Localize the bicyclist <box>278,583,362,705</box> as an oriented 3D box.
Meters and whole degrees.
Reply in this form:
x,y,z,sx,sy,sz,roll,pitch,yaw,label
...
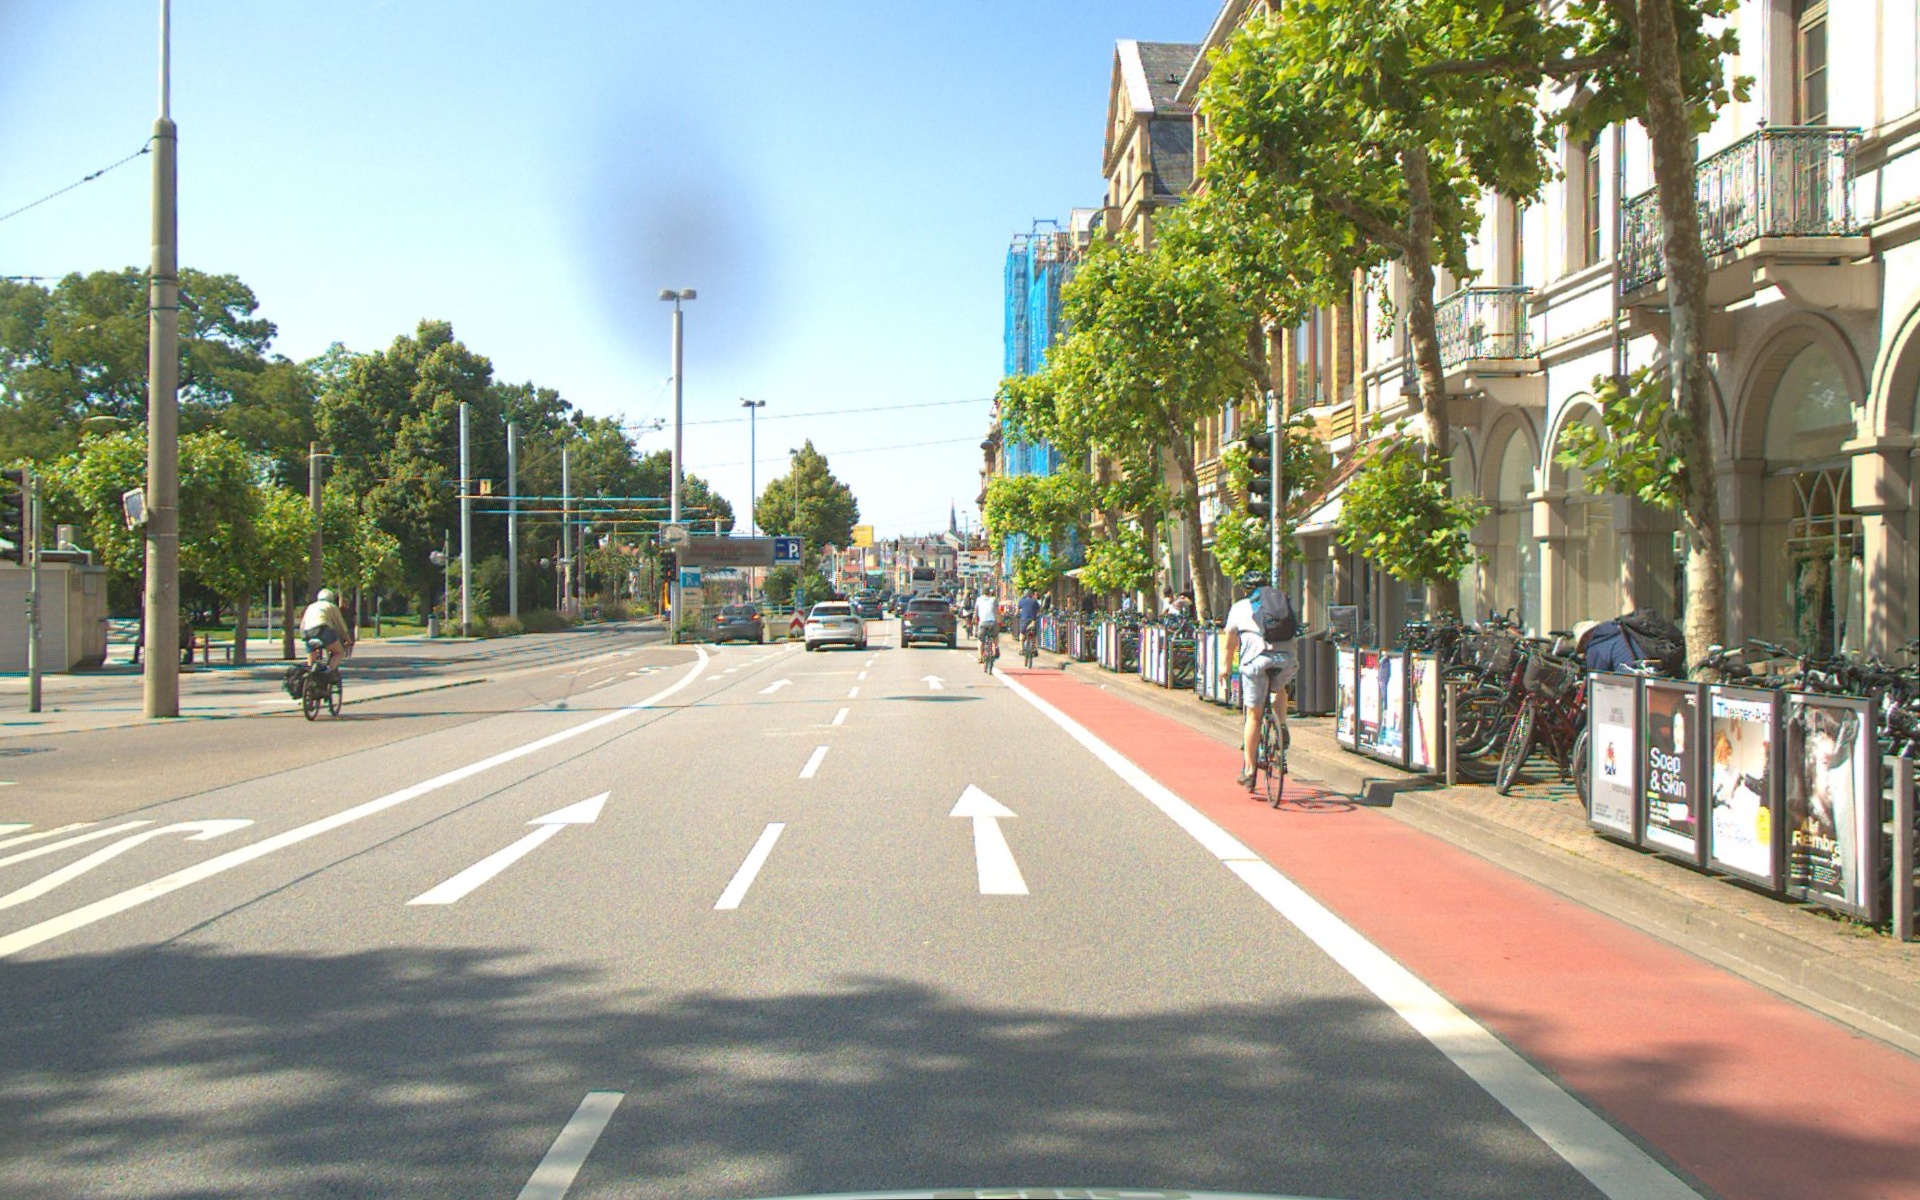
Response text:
x,y,z,sx,sy,sz,roll,pitch,yaw,label
-8.899,0.594,23.038,0.801,1.650,0.902,-1,1,-2,bicyclist

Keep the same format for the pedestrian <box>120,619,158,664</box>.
x,y,z,sx,sy,sz,roll,pitch,yaw,label
-22.335,1.122,45.020,0.662,1.191,0.751,-3,1,-8,pedestrian

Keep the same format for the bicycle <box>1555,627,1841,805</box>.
x,y,z,sx,sy,sz,roll,pitch,yaw,label
5.018,0.771,11.292,1.718,1.167,0.592,0,0,-4,bicycle

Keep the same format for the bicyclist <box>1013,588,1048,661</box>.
x,y,z,sx,sy,sz,roll,pitch,yaw,label
1.621,0.553,38.058,0.674,1.644,0.918,2,0,-3,bicyclist

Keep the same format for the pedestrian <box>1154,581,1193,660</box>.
x,y,z,sx,sy,sz,roll,pitch,yaw,label
4.594,0.441,35.611,0.639,1.662,0.730,2,-1,-5,pedestrian

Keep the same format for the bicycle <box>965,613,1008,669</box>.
x,y,z,sx,sy,sz,roll,pitch,yaw,label
0.547,0.855,34.738,0.719,1.112,1.896,2,0,-4,bicycle

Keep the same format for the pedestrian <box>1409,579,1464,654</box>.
x,y,z,sx,sy,sz,roll,pitch,yaw,label
8.358,0.289,29.003,0.715,1.274,0.588,1,-1,42,pedestrian

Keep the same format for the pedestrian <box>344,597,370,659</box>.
x,y,z,sx,sy,sz,roll,pitch,yaw,label
-17.455,0.804,47.890,0.520,1.764,0.581,-3,1,-32,pedestrian

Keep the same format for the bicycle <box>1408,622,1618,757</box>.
x,y,z,sx,sy,sz,roll,pitch,yaw,label
4.889,0.781,14.647,1.718,1.167,0.482,0,0,-4,bicycle

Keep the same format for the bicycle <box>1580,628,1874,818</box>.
x,y,z,sx,sy,sz,roll,pitch,yaw,label
4.885,0.768,10.576,1.669,1.167,0.519,0,0,-4,bicycle

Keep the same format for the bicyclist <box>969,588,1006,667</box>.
x,y,z,sx,sy,sz,roll,pitch,yaw,label
0.570,0.575,34.505,0.674,1.604,1.049,2,0,-3,bicyclist

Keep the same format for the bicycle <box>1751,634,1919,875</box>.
x,y,z,sx,sy,sz,roll,pitch,yaw,label
5.035,0.765,8.465,1.718,1.167,0.592,0,0,-4,bicycle

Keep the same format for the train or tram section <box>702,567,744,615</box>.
x,y,z,sx,sy,sz,roll,pitch,yaw,label
-18.682,-0.681,130.471,2.561,3.643,6.014,2,0,-3,train or tram section

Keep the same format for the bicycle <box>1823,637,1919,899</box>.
x,y,z,sx,sy,sz,roll,pitch,yaw,label
5.061,0.763,7.790,1.718,1.167,0.592,0,0,-4,bicycle

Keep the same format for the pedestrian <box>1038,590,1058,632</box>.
x,y,z,sx,sy,sz,roll,pitch,yaw,label
4.057,0.514,76.240,0.797,1.881,0.892,-2,-1,5,pedestrian

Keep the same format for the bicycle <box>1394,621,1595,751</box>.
x,y,z,sx,sy,sz,roll,pitch,yaw,label
4.928,0.784,15.284,1.718,1.167,0.482,0,0,-4,bicycle

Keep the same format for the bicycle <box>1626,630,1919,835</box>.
x,y,z,sx,sy,sz,roll,pitch,yaw,label
4.942,0.767,9.868,1.718,1.167,0.592,0,0,-4,bicycle

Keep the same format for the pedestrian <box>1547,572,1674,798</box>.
x,y,z,sx,sy,sz,roll,pitch,yaw,label
4.668,0.598,11.893,0.592,1.565,0.666,2,-1,-4,pedestrian

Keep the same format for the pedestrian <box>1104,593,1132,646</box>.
x,y,z,sx,sy,sz,roll,pitch,yaw,label
5.045,0.608,52.819,0.590,1.654,0.640,-3,0,-20,pedestrian

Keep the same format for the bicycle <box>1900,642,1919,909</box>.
x,y,z,sx,sy,sz,roll,pitch,yaw,label
5.071,0.773,7.157,1.718,1.167,0.592,0,0,-4,bicycle

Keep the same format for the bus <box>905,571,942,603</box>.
x,y,z,sx,sy,sz,roll,pitch,yaw,label
-3.423,-1.145,152.131,2.911,2.825,8.633,2,0,-4,bus

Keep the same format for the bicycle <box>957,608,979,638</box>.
x,y,z,sx,sy,sz,roll,pitch,yaw,label
0.298,0.896,64.078,0.719,1.112,1.897,2,0,-3,bicycle

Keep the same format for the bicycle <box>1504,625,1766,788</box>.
x,y,z,sx,sy,sz,roll,pitch,yaw,label
4.980,0.773,12.252,1.718,1.167,0.592,0,0,-4,bicycle

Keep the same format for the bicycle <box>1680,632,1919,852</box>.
x,y,z,sx,sy,sz,roll,pitch,yaw,label
4.975,0.766,9.190,1.718,1.167,0.592,0,0,-4,bicycle

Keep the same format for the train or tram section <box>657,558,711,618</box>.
x,y,z,sx,sy,sz,roll,pitch,yaw,label
-17.677,-0.742,106.164,2.561,3.643,6.100,2,0,-3,train or tram section

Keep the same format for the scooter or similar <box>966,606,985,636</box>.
x,y,z,sx,sy,sz,roll,pitch,yaw,label
0.622,0.848,66.916,0.674,1.188,1.463,2,0,-2,scooter or similar

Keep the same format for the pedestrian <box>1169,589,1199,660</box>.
x,y,z,sx,sy,sz,roll,pitch,yaw,label
5.805,0.620,42.932,0.654,1.812,0.985,-1,-1,2,pedestrian

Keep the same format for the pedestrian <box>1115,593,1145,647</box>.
x,y,z,sx,sy,sz,roll,pitch,yaw,label
5.354,0.631,52.192,0.685,1.654,0.698,-1,0,-20,pedestrian

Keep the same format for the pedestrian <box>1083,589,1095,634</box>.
x,y,z,sx,sy,sz,roll,pitch,yaw,label
4.963,0.453,63.512,0.373,1.712,0.477,-1,-1,0,pedestrian

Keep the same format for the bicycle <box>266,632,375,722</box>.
x,y,z,sx,sy,sz,roll,pitch,yaw,label
-8.894,1.045,23.068,0.801,1.140,1.873,-3,0,-2,bicycle

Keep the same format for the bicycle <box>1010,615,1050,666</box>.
x,y,z,sx,sy,sz,roll,pitch,yaw,label
1.601,0.908,38.128,0.719,1.112,1.910,2,0,-4,bicycle

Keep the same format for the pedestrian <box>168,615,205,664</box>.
x,y,z,sx,sy,sz,roll,pitch,yaw,label
-20.939,1.062,44.793,0.662,1.268,0.751,-3,1,-8,pedestrian

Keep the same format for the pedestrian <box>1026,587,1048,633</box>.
x,y,z,sx,sy,sz,roll,pitch,yaw,label
2.913,0.382,62.421,0.646,1.712,0.650,0,-1,-17,pedestrian

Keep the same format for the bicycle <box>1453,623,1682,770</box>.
x,y,z,sx,sy,sz,roll,pitch,yaw,label
4.941,0.775,13.490,1.718,1.167,0.482,0,0,-4,bicycle

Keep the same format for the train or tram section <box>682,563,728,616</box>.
x,y,z,sx,sy,sz,roll,pitch,yaw,label
-18.134,-0.711,117.979,2.561,3.644,5.354,2,0,-3,train or tram section

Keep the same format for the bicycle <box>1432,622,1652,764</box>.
x,y,z,sx,sy,sz,roll,pitch,yaw,label
4.925,0.776,14.021,1.718,1.167,0.482,0,0,-4,bicycle

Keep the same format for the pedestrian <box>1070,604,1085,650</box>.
x,y,z,sx,sy,sz,roll,pitch,yaw,label
4.496,1.029,63.188,0.488,1.712,0.537,-2,-1,1,pedestrian

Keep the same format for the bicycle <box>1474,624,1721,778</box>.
x,y,z,sx,sy,sz,roll,pitch,yaw,label
4.959,0.774,12.916,1.718,1.167,0.592,0,0,-4,bicycle

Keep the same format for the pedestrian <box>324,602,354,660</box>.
x,y,z,sx,sy,sz,roll,pitch,yaw,label
-18.070,0.900,48.106,0.513,1.637,0.627,-2,1,7,pedestrian

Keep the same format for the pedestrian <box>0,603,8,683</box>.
x,y,z,sx,sy,sz,roll,pitch,yaw,label
-21.621,0.963,36.659,0.741,1.758,0.832,-3,1,-25,pedestrian

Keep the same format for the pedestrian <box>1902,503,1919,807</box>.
x,y,z,sx,sy,sz,roll,pitch,yaw,label
6.465,0.358,10.301,0.687,1.935,0.776,2,-1,-4,pedestrian

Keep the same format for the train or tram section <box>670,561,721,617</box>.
x,y,z,sx,sy,sz,roll,pitch,yaw,label
-17.904,-0.726,112.269,2.561,3.643,6.100,2,0,-3,train or tram section

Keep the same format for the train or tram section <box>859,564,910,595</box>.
x,y,z,sx,sy,sz,roll,pitch,yaw,label
-9.707,-2.626,213.738,2.764,3.643,10.033,2,0,20,train or tram section

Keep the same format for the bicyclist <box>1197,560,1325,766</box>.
x,y,z,sx,sy,sz,roll,pitch,yaw,label
2.281,0.462,12.666,0.675,1.488,1.142,2,0,-4,bicyclist

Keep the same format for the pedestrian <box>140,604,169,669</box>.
x,y,z,sx,sy,sz,roll,pitch,yaw,label
-20.743,0.928,42.576,0.568,1.637,0.597,-3,1,-31,pedestrian

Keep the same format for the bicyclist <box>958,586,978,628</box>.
x,y,z,sx,sy,sz,roll,pitch,yaw,label
0.317,0.256,64.110,0.675,1.604,1.049,2,0,-4,bicyclist
